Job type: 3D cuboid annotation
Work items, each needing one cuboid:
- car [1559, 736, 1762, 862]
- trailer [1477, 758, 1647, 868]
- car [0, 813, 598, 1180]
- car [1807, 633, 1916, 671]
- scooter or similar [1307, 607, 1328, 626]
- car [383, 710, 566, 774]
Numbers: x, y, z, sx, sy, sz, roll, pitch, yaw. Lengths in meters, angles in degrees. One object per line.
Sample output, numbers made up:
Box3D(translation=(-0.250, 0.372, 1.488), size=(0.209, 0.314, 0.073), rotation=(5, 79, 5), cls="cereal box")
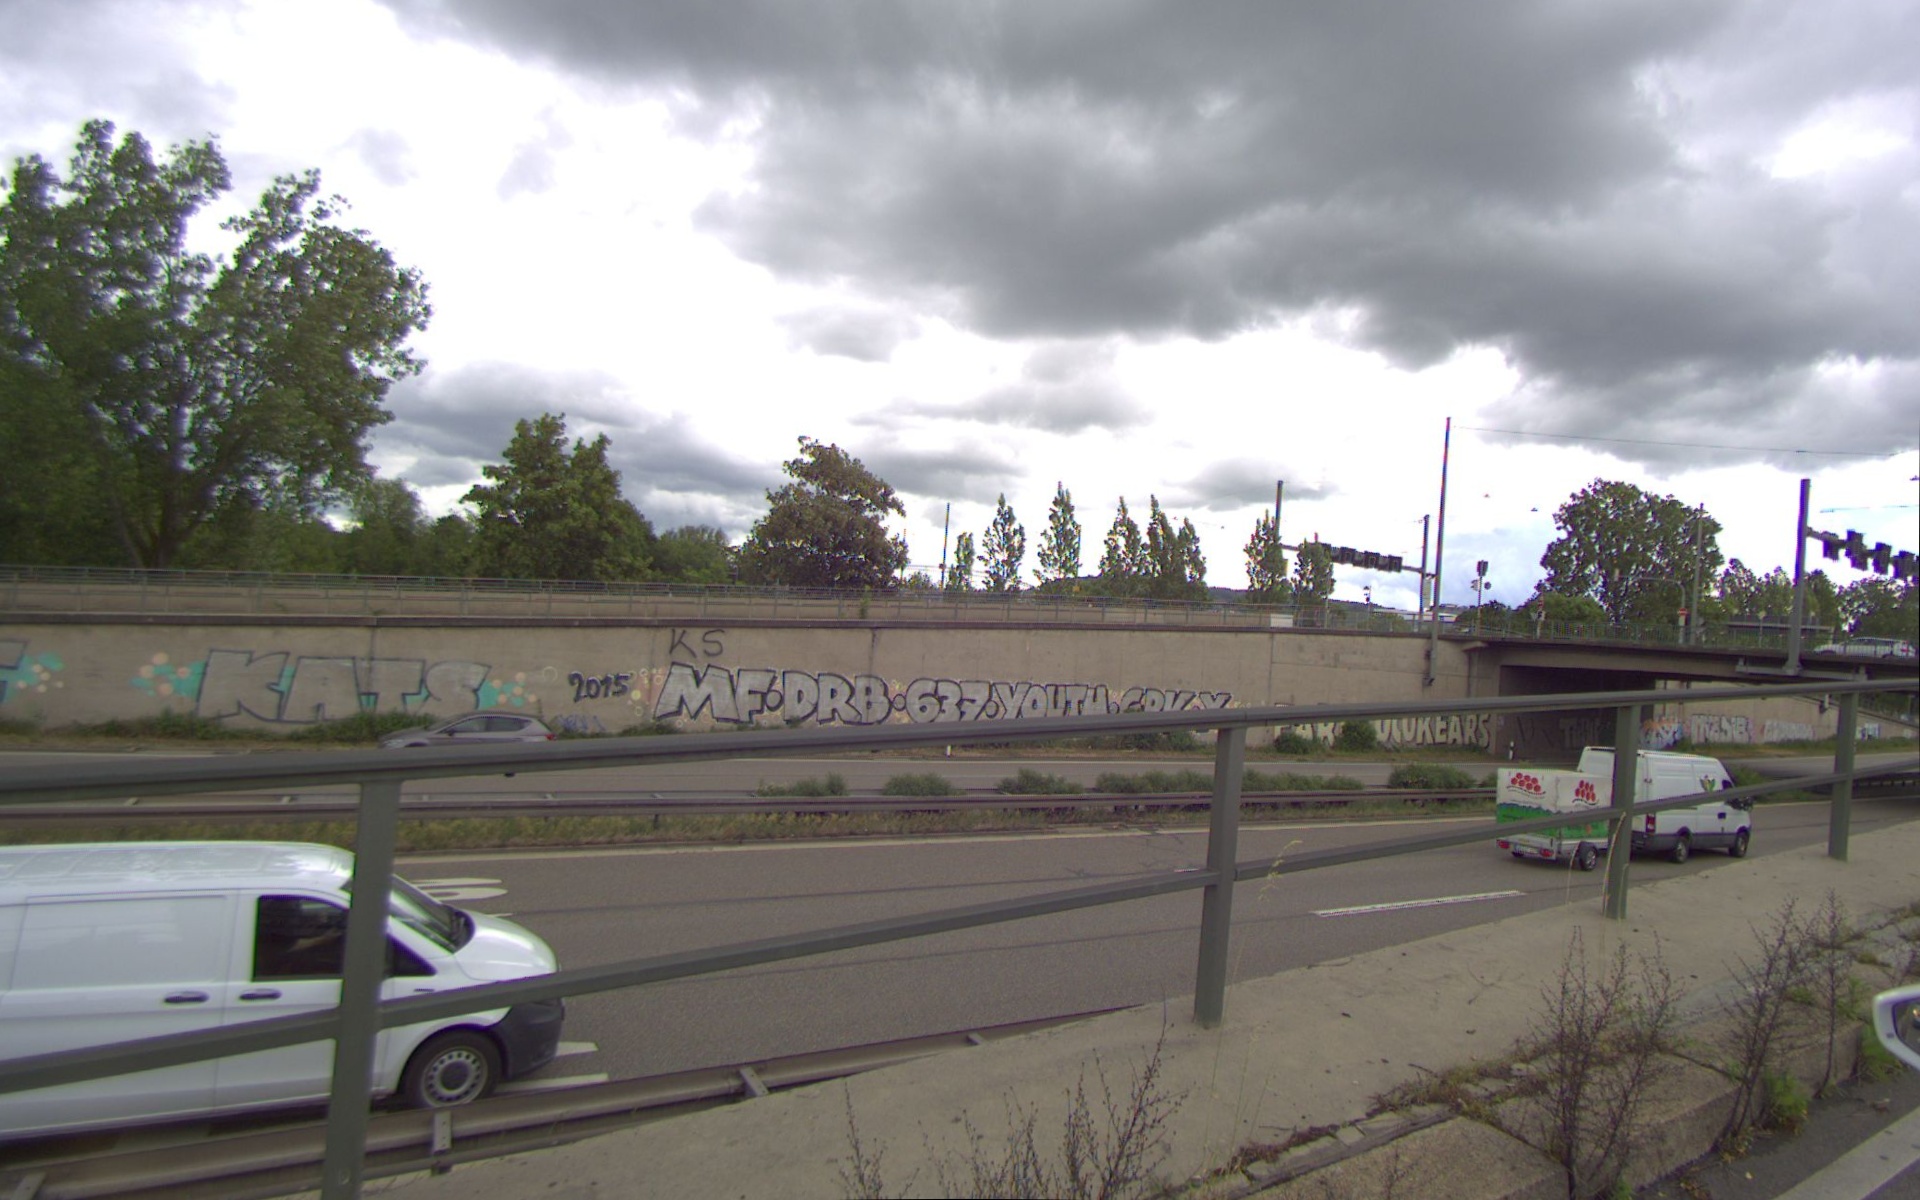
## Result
Box3D(translation=(18.320, 5.098, 26.168), size=(5.867, 2.719, 1.984), rotation=(6, -2, -30), cls="car")
Box3D(translation=(14.302, 4.972, 23.817), size=(3.892, 2.157, 1.720), rotation=(6, -2, -30), cls="trailer")
Box3D(translation=(-5.740, 2.840, 7.796), size=(5.141, 1.900, 1.984), rotation=(6, -3, -31), cls="car")
Box3D(translation=(50.428, 2.886, 56.240), size=(1.979, 1.895, 4.175), rotation=(2, 0, -33), cls="car")
Box3D(translation=(22.586, 1.041, 63.426), size=(1.403, 1.108, 0.539), rotation=(4, -2, -36), cls="scooter or similar")
Box3D(translation=(-12.536, 3.681, 26.022), size=(4.065, 1.393, 1.702), rotation=(6, -4, -31), cls="car")
